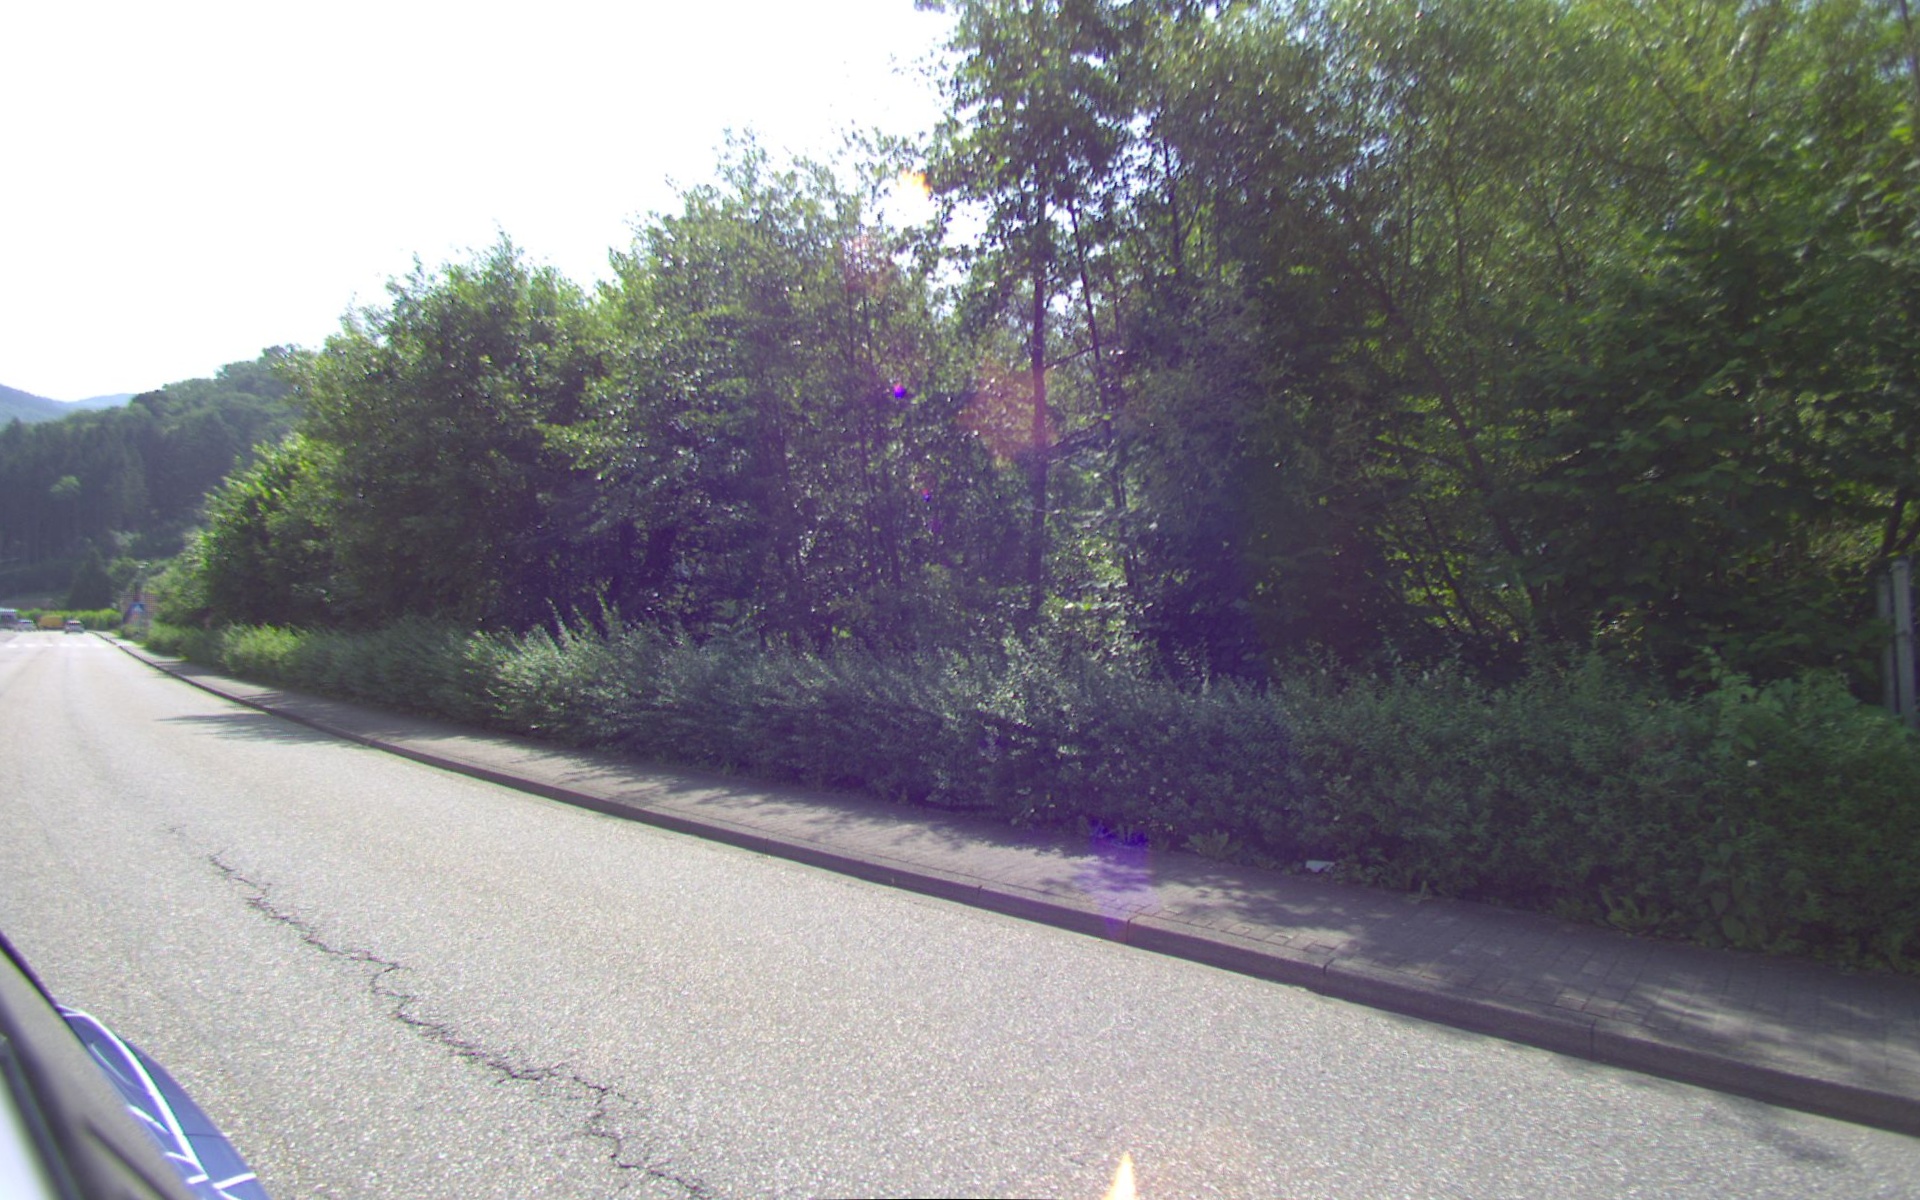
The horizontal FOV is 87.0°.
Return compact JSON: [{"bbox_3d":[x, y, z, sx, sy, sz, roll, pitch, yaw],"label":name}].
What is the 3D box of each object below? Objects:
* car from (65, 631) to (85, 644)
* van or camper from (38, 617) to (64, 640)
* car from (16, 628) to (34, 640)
[{"bbox_3d":[-103.945,4.447,118.910,1.570,1.494,3.763,4,-4,-40],"label":"car"},{"bbox_3d":[-122.790,3.903,136.713,2.329,2.976,8.062,4,-4,-41],"label":"van or camper"},{"bbox_3d":[-120.960,4.439,130.920,1.585,1.416,3.832,5,-4,-42],"label":"car"}]
